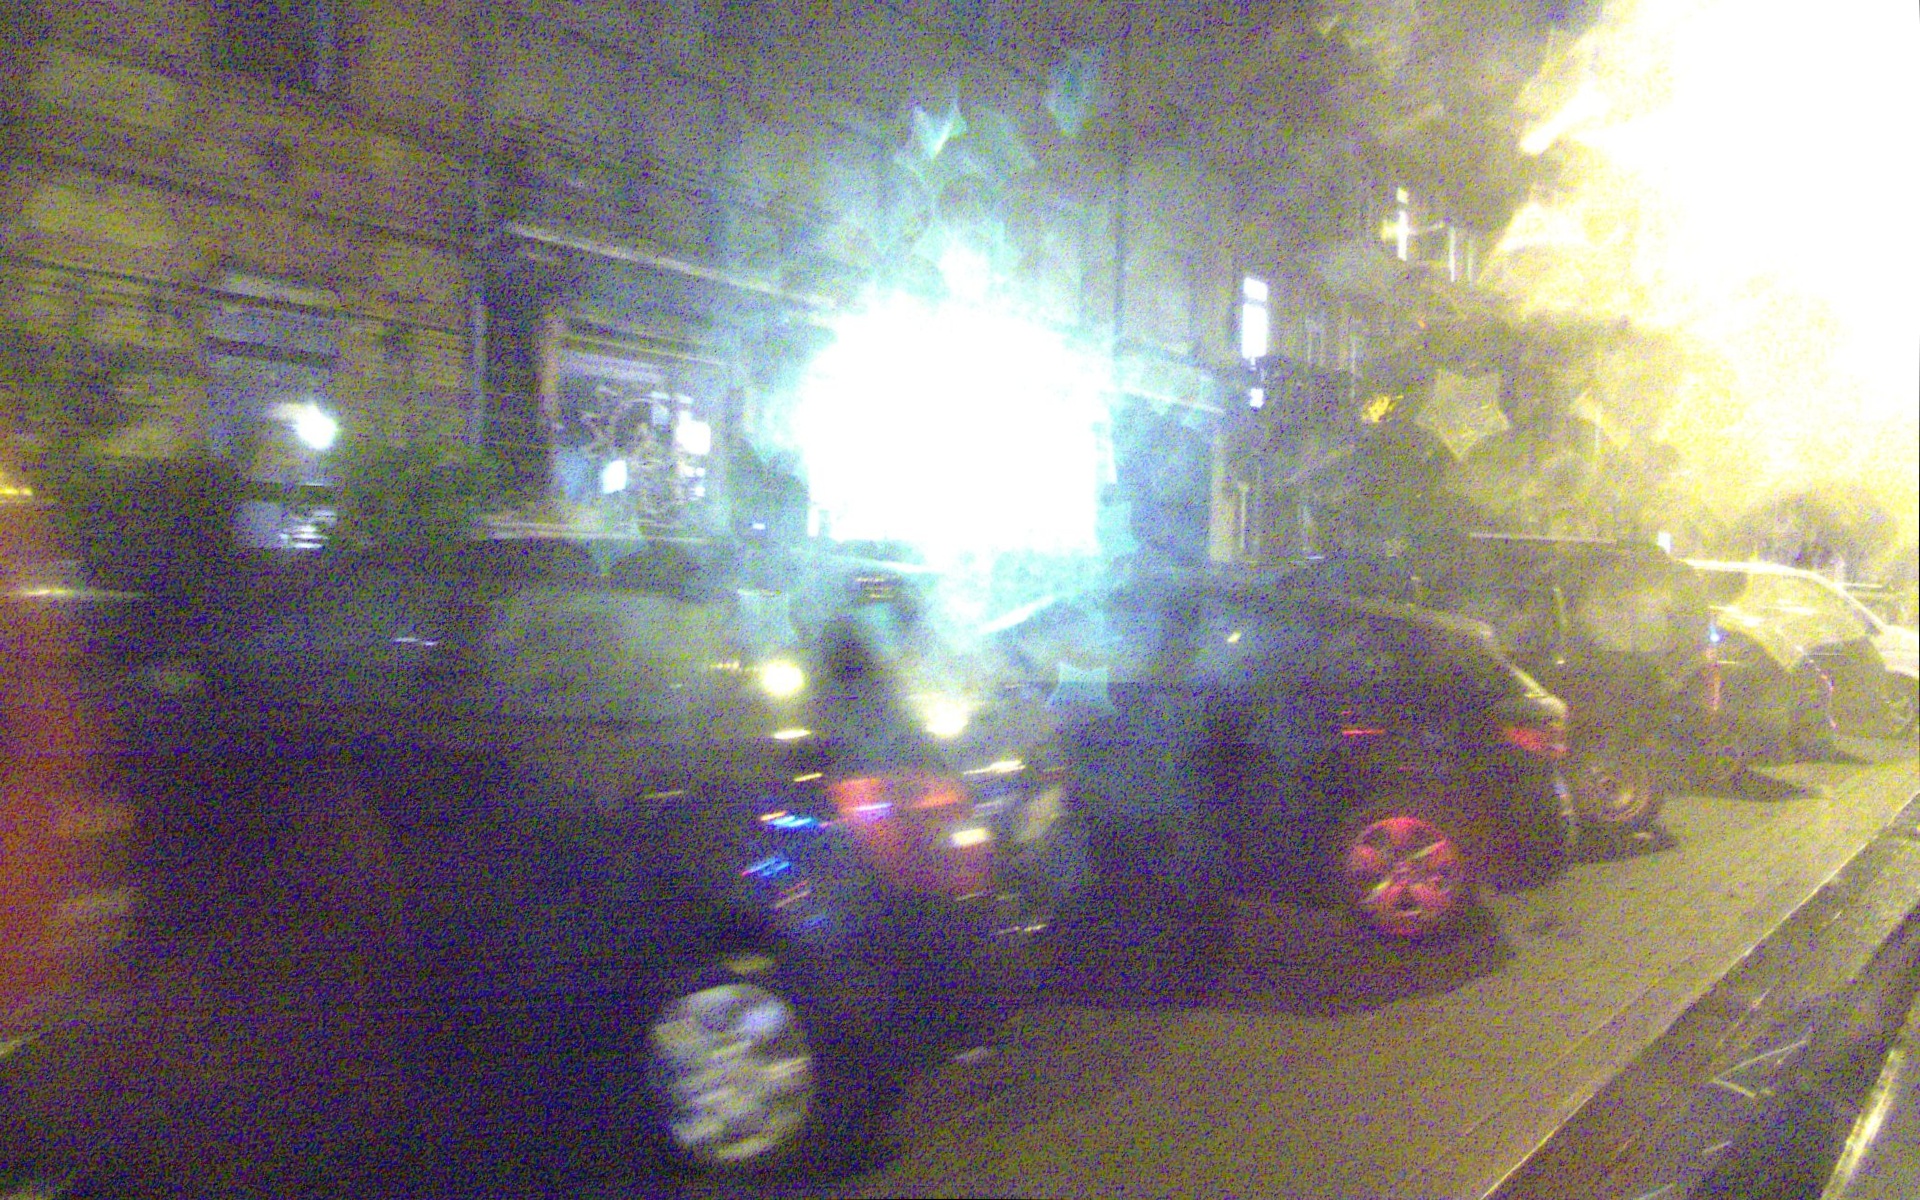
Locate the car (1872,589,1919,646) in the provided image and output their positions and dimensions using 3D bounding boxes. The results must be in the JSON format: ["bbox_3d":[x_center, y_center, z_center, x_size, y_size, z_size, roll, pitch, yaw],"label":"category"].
[{"bbox_3d":[29.259,0.600,29.245,3.897,1.581,1.695,4,3,27],"label":"car"}]

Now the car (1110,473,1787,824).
[{"bbox_3d":[3.140,0.209,7.310,3.875,1.966,1.737,4,2,13],"label":"car"}]

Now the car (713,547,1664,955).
[{"bbox_3d":[0.947,0.540,5.218,3.999,1.471,1.671,2,1,15],"label":"car"}]

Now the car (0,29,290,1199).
[{"bbox_3d":[-3.252,0.131,1.528,3.687,2.053,1.714,4,2,15],"label":"car"}]

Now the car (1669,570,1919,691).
[{"bbox_3d":[13.871,0.453,16.146,3.899,1.639,1.694,4,3,28],"label":"car"}]

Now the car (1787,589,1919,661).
[{"bbox_3d":[22.172,0.624,23.752,3.897,1.481,1.695,4,3,27],"label":"car"}]

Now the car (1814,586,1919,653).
[{"bbox_3d":[24.721,0.548,25.950,3.897,1.581,1.695,4,3,27],"label":"car"}]

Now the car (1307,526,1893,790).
[{"bbox_3d":[5.251,0.381,8.909,3.875,1.814,1.737,4,2,13],"label":"car"}]

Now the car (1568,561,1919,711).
[{"bbox_3d":[11.269,0.419,14.769,3.899,1.763,1.694,4,3,28],"label":"car"}]

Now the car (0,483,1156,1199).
[{"bbox_3d":[-1.314,0.449,3.418,3.657,1.470,1.649,4,3,18],"label":"car"}]

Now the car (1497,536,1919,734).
[{"bbox_3d":[9.499,0.338,12.568,4.656,2.004,1.966,4,3,21],"label":"car"}]

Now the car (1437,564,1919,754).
[{"bbox_3d":[7.427,0.503,10.819,3.880,1.568,1.735,4,3,16],"label":"car"}]
